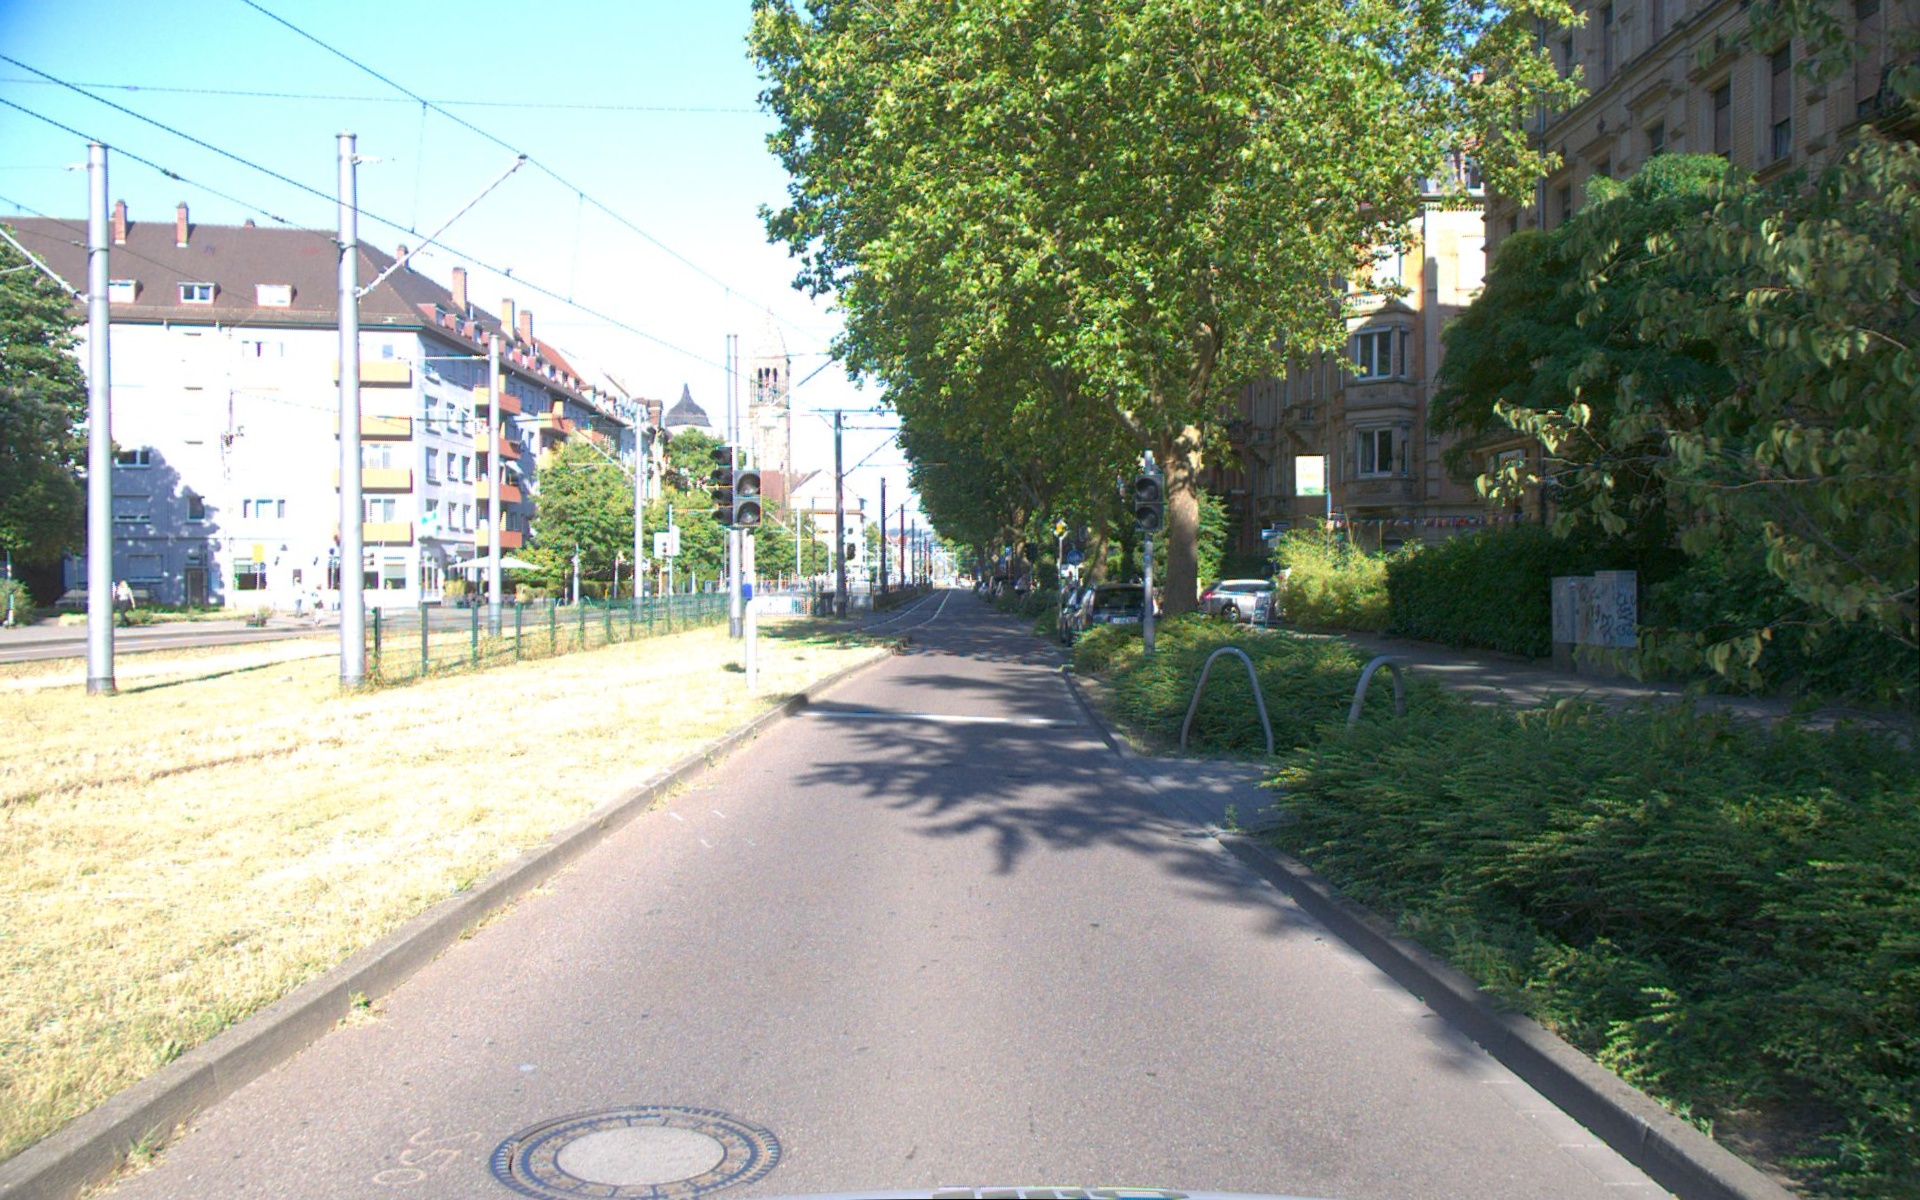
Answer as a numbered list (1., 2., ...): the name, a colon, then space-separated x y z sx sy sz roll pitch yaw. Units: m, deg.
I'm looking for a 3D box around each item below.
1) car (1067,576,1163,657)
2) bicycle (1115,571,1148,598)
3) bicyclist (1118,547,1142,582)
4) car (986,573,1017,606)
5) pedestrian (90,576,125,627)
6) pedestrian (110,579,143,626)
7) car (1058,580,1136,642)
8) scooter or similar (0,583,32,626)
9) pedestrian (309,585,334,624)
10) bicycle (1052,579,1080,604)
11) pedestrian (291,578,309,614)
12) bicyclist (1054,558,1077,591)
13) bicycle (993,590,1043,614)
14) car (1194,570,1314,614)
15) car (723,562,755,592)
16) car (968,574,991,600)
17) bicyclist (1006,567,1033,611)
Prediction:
1. car: 3.160 0.289 34.389 1.610 1.537 4.183 -1 1 0
2. bicycle: 7.130 -0.653 68.801 0.798 0.973 2.313 -2 3 -9
3. bicyclist: 7.087 -1.489 68.864 0.798 1.429 0.823 -2 3 -9
4. car: 2.784 -0.675 111.428 1.952 2.144 4.000 2 0 0
5. pedestrian: -28.340 0.029 55.012 0.630 1.626 0.898 -1 3 0
6. pedestrian: -27.703 0.067 54.996 0.577 1.493 0.916 -1 3 0
7. car: 3.344 0.230 41.003 1.610 1.397 4.183 -1 1 0
8. scooter or similar: -29.982 0.148 52.382 0.393 1.283 1.231 -1 3 1
9. pedestrian: -24.891 0.171 64.454 0.674 1.493 0.591 -1 3 3
10. bicycle: 4.736 -0.389 74.117 0.798 0.973 2.313 -2 3 -9
11. pedestrian: -29.177 -0.182 73.110 0.583 1.493 0.907 -3 4 -30
12. bicyclist: 4.722 -1.161 74.085 0.798 1.429 1.079 -2 3 -9
13. bicycle: 2.579 0.090 73.451 2.196 0.993 0.682 0 3 -1
14. car: 10.263 -0.285 57.918 3.904 1.445 2.001 -1 1 2
15. car: -16.458 -1.726 123.264 1.954 2.048 3.999 -1 3 -3
16. car: 1.674 -1.129 143.965 1.952 2.144 4.000 2 0 0
17. bicyclist: 2.632 -0.494 73.428 1.118 1.923 0.682 -1 3 0
